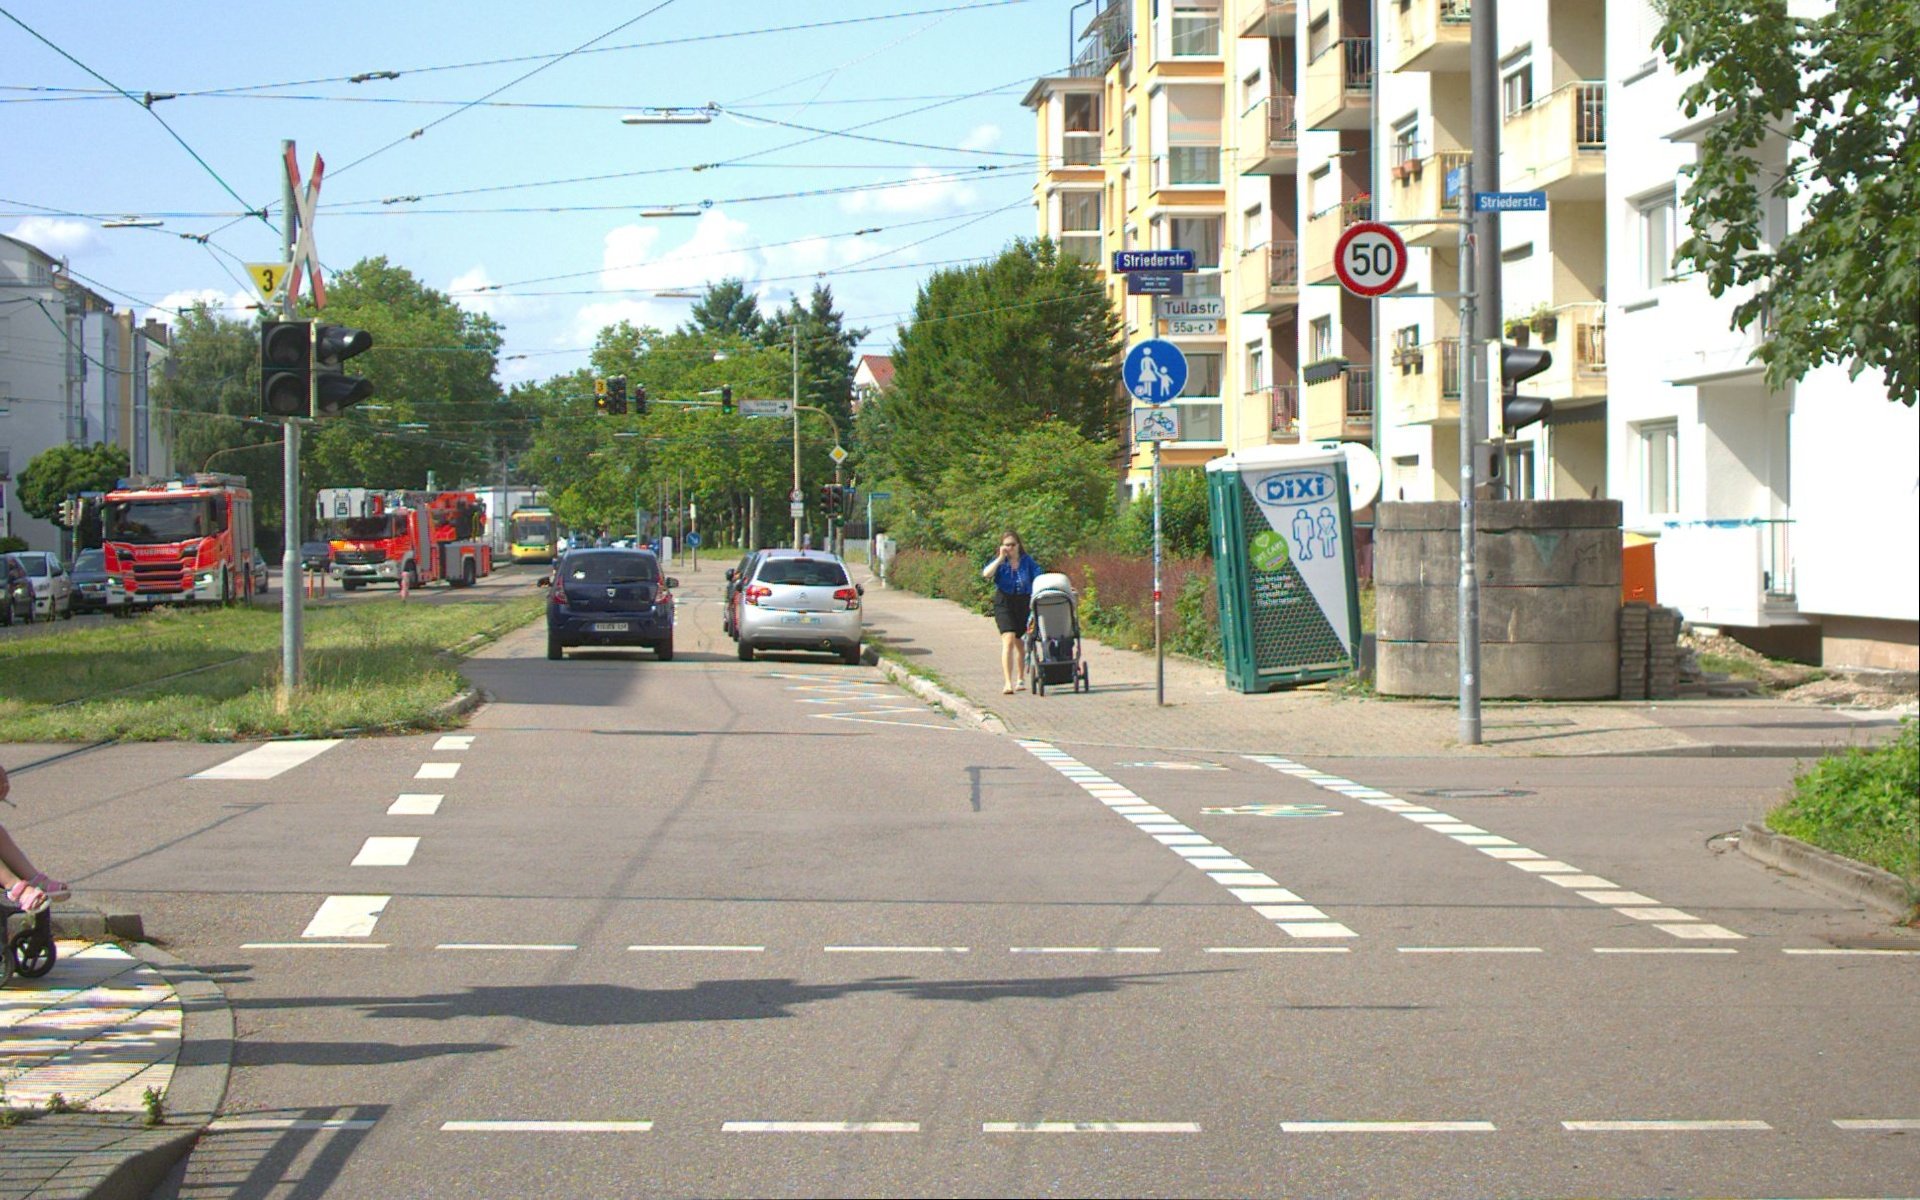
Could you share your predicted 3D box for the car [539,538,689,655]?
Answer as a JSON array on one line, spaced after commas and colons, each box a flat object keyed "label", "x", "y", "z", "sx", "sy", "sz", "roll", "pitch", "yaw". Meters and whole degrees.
[{"label": "car", "x": -4.741, "y": -0.067, "z": 47.553, "sx": 1.744, "sy": 1.502, "sz": 4.000, "roll": 1, "pitch": 1, "yaw": -1}]

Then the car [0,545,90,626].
[{"label": "car", "x": -20.466, "y": -0.334, "z": 75.390, "sx": 1.993, "sy": 1.705, "sz": 4.001, "roll": 1, "pitch": 1, "yaw": -4}]

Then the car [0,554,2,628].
[{"label": "car", "x": -19.286, "y": -0.174, "z": 64.495, "sx": 1.768, "sy": 1.437, "sz": 4.001, "roll": 1, "pitch": 1, "yaw": -4}]

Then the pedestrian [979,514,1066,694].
[{"label": "pedestrian", "x": 0.637, "y": 0.033, "z": 35.267, "sx": 0.701, "sy": 1.783, "sz": 1.030, "roll": -3, "pitch": 1, "yaw": -4}]

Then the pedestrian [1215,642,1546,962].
[{"label": "pedestrian", "x": 2.966, "y": 1.379, "z": 25.069, "sx": 1.993, "sy": 2.007, "sz": 4.000, "roll": 1, "pitch": 1, "yaw": 2}]

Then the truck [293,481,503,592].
[{"label": "truck", "x": -18.341, "y": -2.015, "z": 113.067, "sx": 2.669, "sy": 3.459, "sz": 10.160, "roll": 1, "pitch": 1, "yaw": 16}]

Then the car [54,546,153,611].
[{"label": "car", "x": -21.254, "y": -0.541, "z": 85.447, "sx": 1.776, "sy": 1.551, "sz": 4.001, "roll": 1, "pitch": 1, "yaw": -6}]

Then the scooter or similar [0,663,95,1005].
[{"label": "scooter or similar", "x": -3.423, "y": 0.735, "z": 11.111, "sx": 1.100, "sy": 1.052, "sz": 0.650, "roll": 1, "pitch": 0, "yaw": -3}]

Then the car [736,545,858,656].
[{"label": "car", "x": -2.291, "y": -0.014, "z": 48.327, "sx": 1.622, "sy": 1.460, "sz": 3.511, "roll": 1, "pitch": 1, "yaw": -3}]

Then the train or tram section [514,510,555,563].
[{"label": "train or tram section", "x": -25.311, "y": -3.804, "z": 204.752, "sx": 2.258, "sy": 3.058, "sz": 8.135, "roll": -1, "pitch": 1, "yaw": -6}]

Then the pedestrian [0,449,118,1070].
[{"label": "pedestrian", "x": -2.874, "y": 0.427, "z": 9.472, "sx": 0.845, "sy": 1.662, "sz": 0.799, "roll": -1, "pitch": 1, "yaw": -32}]

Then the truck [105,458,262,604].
[{"label": "truck", "x": -17.728, "y": -1.552, "z": 78.898, "sx": 2.596, "sy": 3.175, "sz": 8.384, "roll": 0, "pitch": 1, "yaw": -6}]

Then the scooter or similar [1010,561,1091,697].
[{"label": "scooter or similar", "x": 0.899, "y": 0.282, "z": 34.435, "sx": 0.662, "sy": 1.299, "sz": 0.868, "roll": -4, "pitch": 1, "yaw": -3}]
